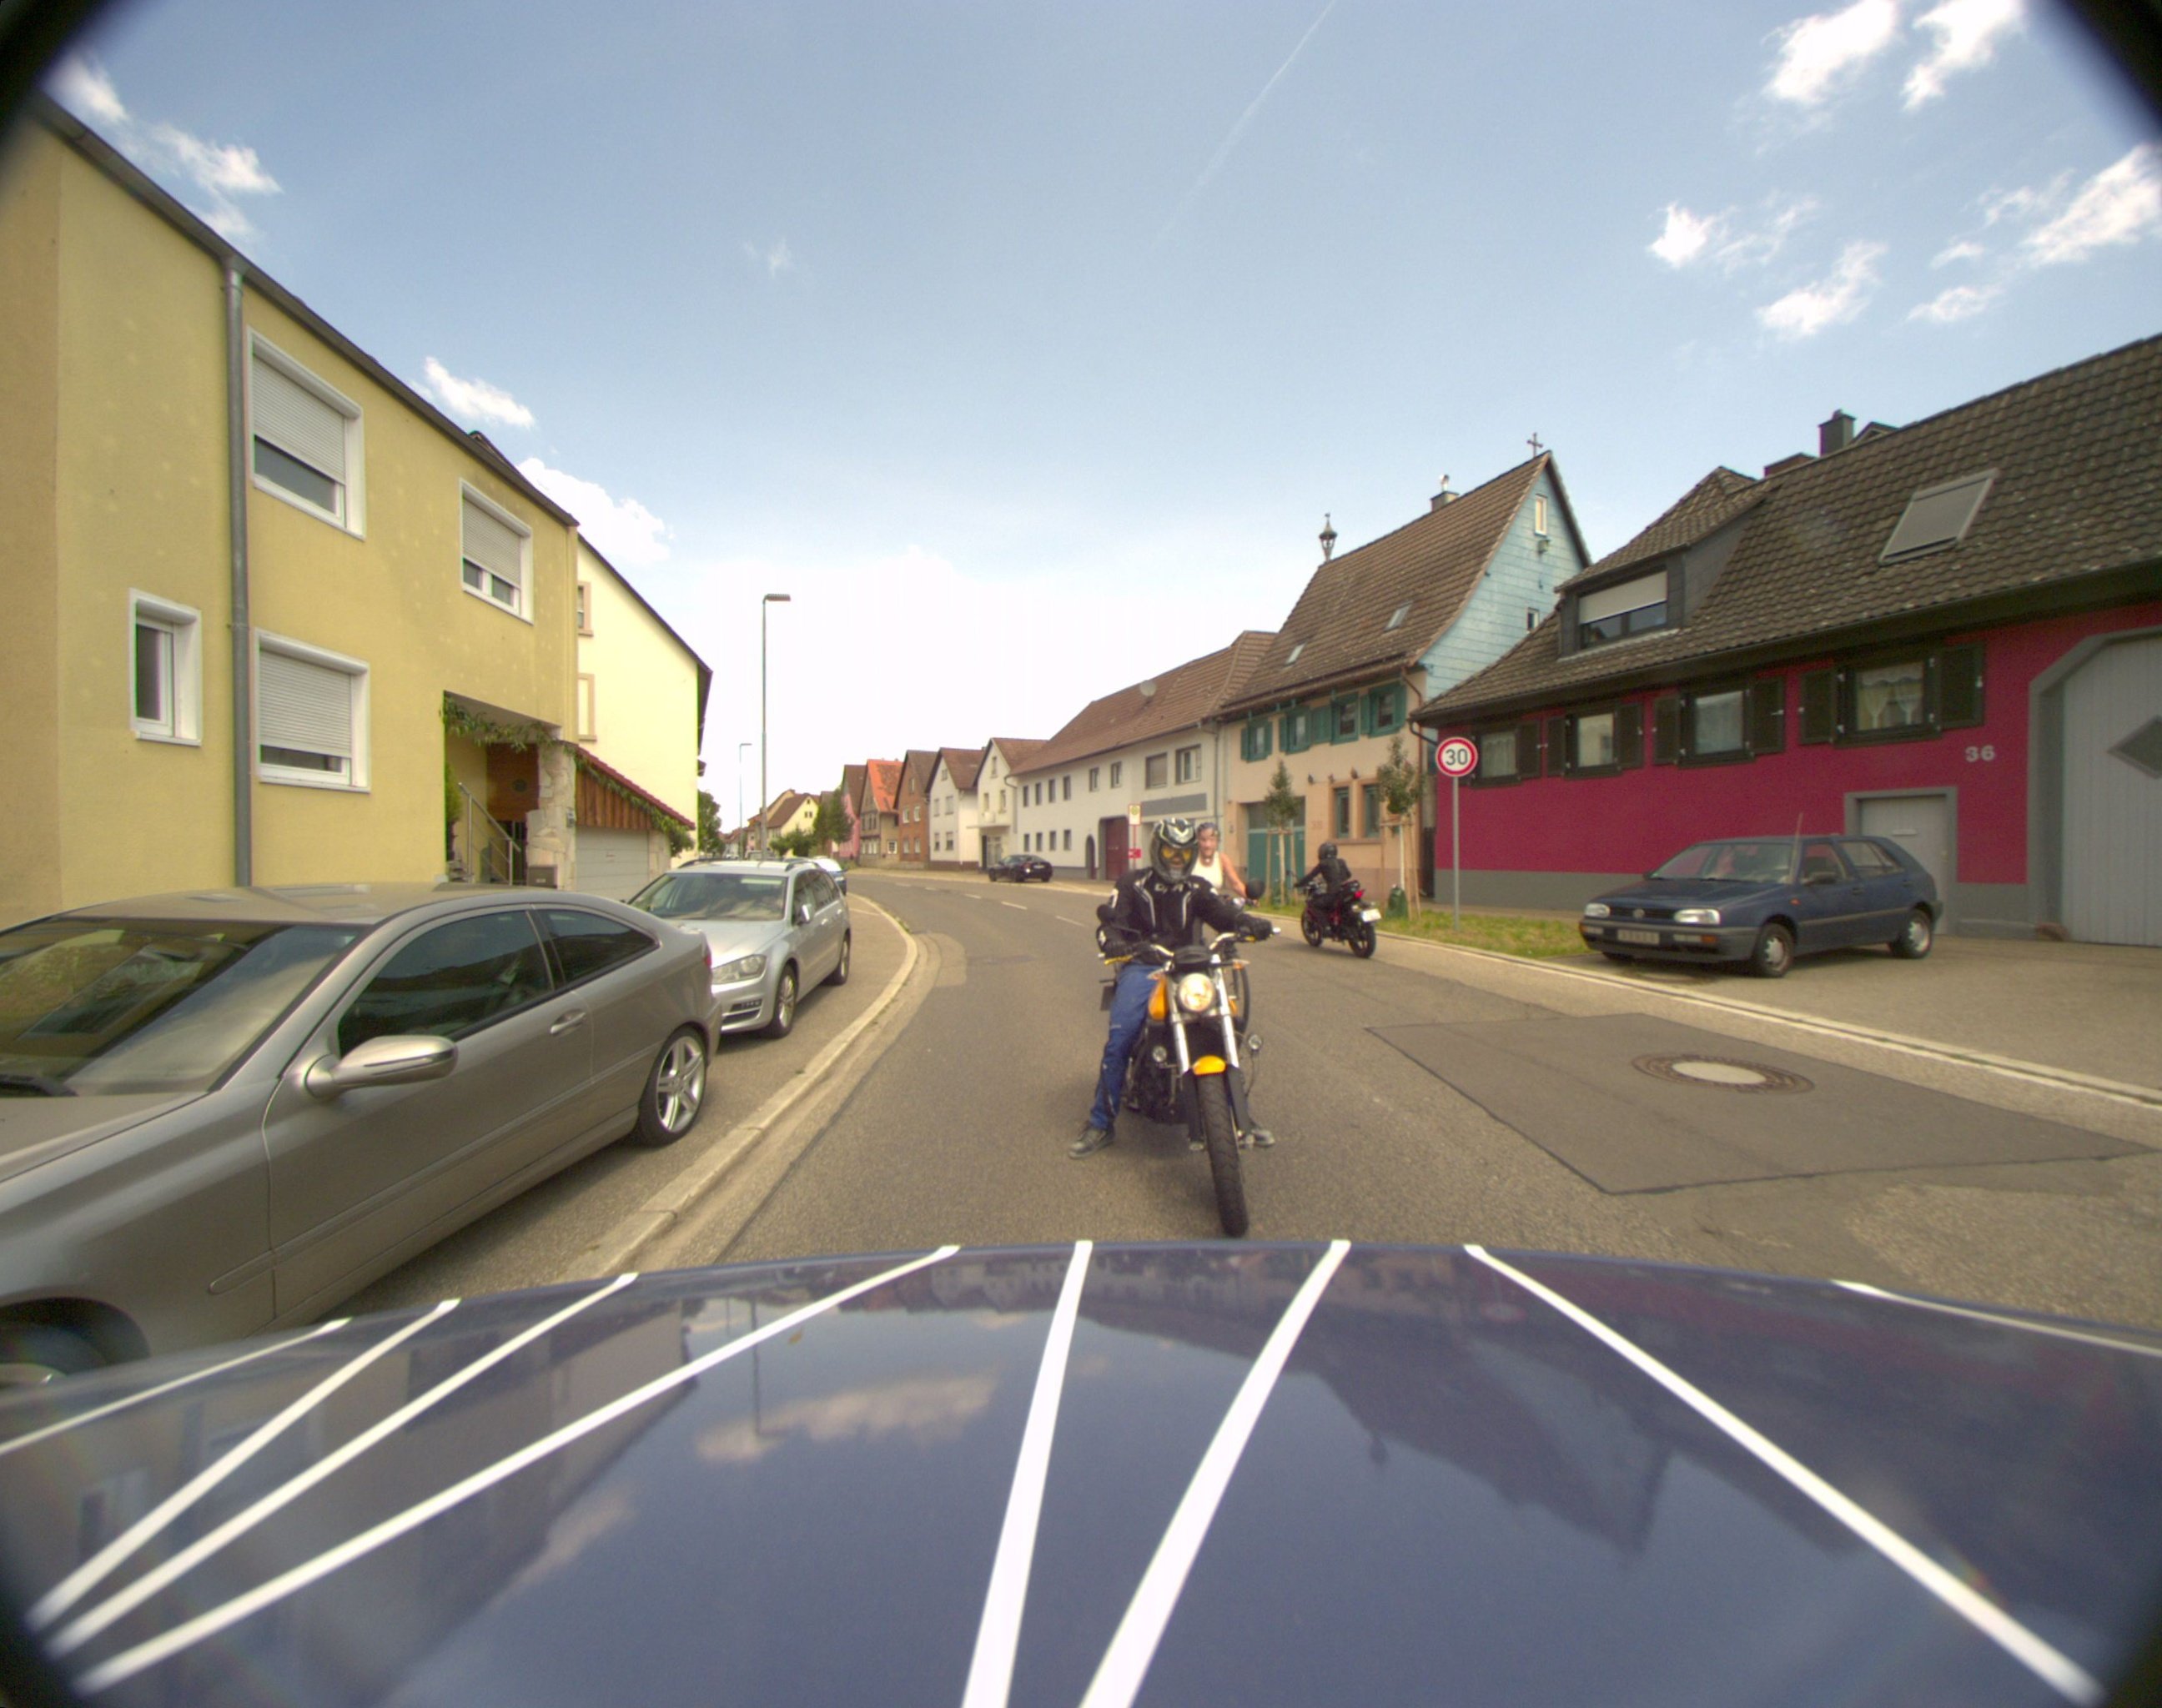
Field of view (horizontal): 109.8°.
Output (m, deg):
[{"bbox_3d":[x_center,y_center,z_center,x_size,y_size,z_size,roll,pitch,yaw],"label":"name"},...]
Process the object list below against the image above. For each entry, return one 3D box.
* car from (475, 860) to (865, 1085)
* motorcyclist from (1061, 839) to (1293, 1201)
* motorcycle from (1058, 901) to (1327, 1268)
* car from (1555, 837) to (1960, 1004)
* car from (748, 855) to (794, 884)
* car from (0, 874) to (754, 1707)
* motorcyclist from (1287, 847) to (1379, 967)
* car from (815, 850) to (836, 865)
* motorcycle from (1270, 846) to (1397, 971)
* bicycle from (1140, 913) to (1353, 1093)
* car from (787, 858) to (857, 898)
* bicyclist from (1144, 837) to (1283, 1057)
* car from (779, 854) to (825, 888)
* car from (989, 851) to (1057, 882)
[{"bbox_3d":[-3.542,0.886,7.608,1.890,1.521,4.333,2,0,-6],"label":"car"},{"bbox_3d":[0.436,0.737,3.768,1.000,1.591,0.799,-1,2,1],"label":"motorcyclist"},{"bbox_3d":[0.445,0.960,3.984,0.985,1.234,2.103,-3,1,1],"label":"motorcycle"},{"bbox_3d":[7.585,0.600,8.552,3.983,1.456,1.718,-2,1,-20],"label":"car"},{"bbox_3d":[-18.876,0.924,46.129,1.669,1.638,3.989,-3,1,-35],"label":"car"},{"bbox_3d":[-2.928,0.908,2.499,1.774,1.392,4.423,2,2,0],"label":"car"},{"bbox_3d":[3.420,0.691,10.375,0.899,1.545,0.806,-1,0,-8],"label":"motorcyclist"},{"bbox_3d":[-27.340,0.373,81.223,1.687,1.521,3.490,-2,2,-26],"label":"car"},{"bbox_3d":[3.410,0.684,10.495,0.883,1.551,1.966,-1,0,-7],"label":"motorcycle"},{"bbox_3d":[1.185,1.054,5.993,0.934,1.005,1.923,-2,0,-11],"label":"bicycle"},{"bbox_3d":[-10.346,0.902,30.195,1.731,1.378,3.989,-1,2,-32],"label":"car"},{"bbox_3d":[1.082,0.713,6.327,0.910,1.679,0.760,-2,2,-10],"label":"bicyclist"},{"bbox_3d":[-13.818,0.861,37.563,1.776,1.520,3.993,-1,-1,-25],"label":"car"},{"bbox_3d":[-2.959,0.611,37.984,1.812,1.412,4.541,-2,0,-26],"label":"car"}]
